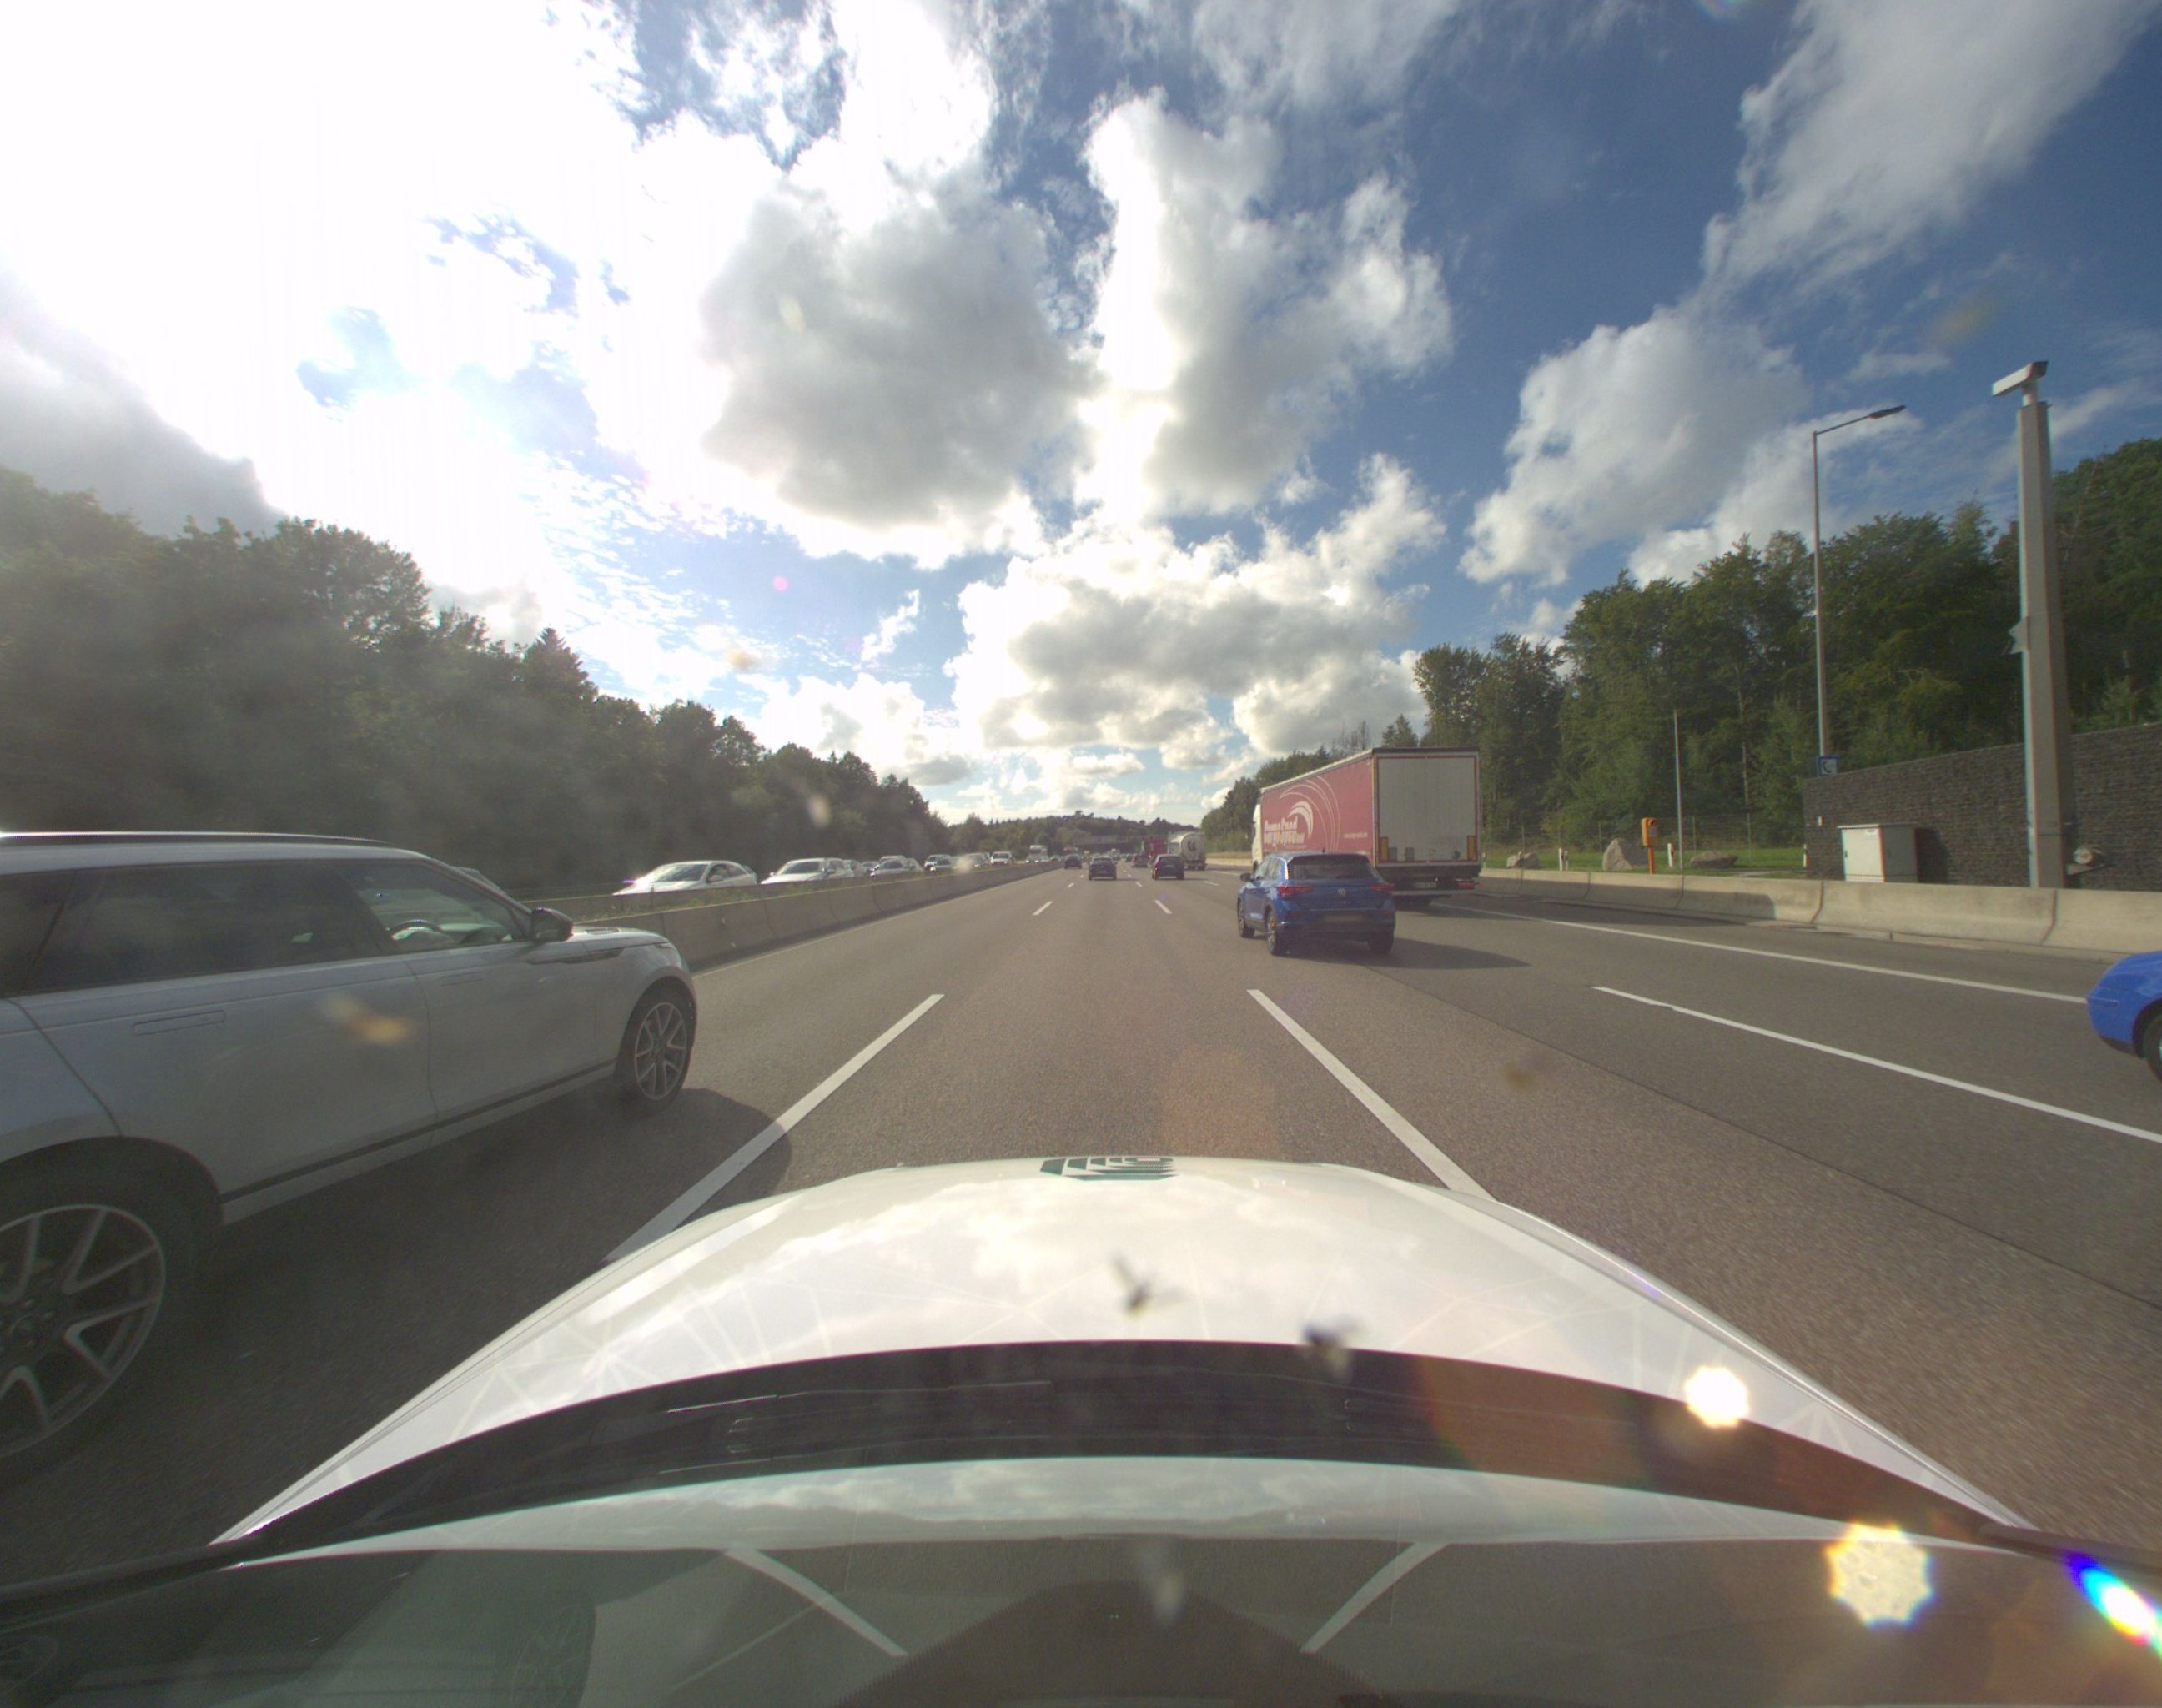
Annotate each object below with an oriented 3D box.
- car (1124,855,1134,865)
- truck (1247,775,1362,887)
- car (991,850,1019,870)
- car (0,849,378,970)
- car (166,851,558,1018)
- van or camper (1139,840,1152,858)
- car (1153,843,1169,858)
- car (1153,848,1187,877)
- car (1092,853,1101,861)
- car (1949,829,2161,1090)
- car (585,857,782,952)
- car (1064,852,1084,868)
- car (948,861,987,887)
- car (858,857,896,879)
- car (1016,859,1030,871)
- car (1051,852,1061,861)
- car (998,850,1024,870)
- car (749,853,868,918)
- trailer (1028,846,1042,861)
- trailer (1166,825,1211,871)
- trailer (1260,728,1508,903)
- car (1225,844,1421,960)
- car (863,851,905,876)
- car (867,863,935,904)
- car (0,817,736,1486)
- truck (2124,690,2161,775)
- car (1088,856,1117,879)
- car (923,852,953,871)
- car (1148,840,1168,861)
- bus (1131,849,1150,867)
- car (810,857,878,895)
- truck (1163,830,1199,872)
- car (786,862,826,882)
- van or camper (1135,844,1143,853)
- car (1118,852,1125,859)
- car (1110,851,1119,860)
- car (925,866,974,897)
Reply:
[{"bbox_3d":[9.824,1.339,167.133,1.986,2.014,4.000,0,-1,1],"label":"car"},{"bbox_3d":[8.733,-0.746,32.628,3.069,4.064,6.071,0,-2,2],"label":"truck"},{"bbox_3d":[-7.288,0.614,78.778,1.985,1.864,4.554,-1,-2,4],"label":"car"},{"bbox_3d":[-17.109,1.012,16.107,1.985,2.014,4.857,-1,-2,3],"label":"car"},{"bbox_3d":[-10.010,1.043,11.885,1.985,2.014,4.002,-1,-2,3],"label":"car"},{"bbox_3d":[12.114,-0.986,152.985,2.342,3.144,5.714,-1,-2,3],"label":"van or camper"},{"bbox_3d":[11.368,-0.469,116.129,1.986,2.014,4.001,0,-2,2],"label":"car"},{"bbox_3d":[5.344,0.528,49.382,1.792,1.644,4.002,0,-1,2],"label":"car"},{"bbox_3d":[3.873,0.739,199.380,2.146,1.776,4.002,0,-1,2],"label":"car"},{"bbox_3d":[7.080,0.616,3.737,1.708,1.511,4.304,0,0,2],"label":"car"},{"bbox_3d":[-8.710,1.071,18.394,1.949,1.864,4.554,-1,-2,4],"label":"car"},{"bbox_3d":[-0.754,0.674,93.033,1.986,1.776,4.002,-2,0,2],"label":"car"},{"bbox_3d":[-8.399,1.537,60.751,1.985,1.864,4.554,-1,-2,4],"label":"car"},{"bbox_3d":[-18.150,1.294,72.731,1.985,1.864,4.554,-1,-2,4],"label":"car"},{"bbox_3d":[-9.988,1.928,140.649,1.985,2.014,4.002,-1,-2,3],"label":"car"},{"bbox_3d":[-5.731,0.615,187.282,1.985,2.013,4.003,-2,0,3],"label":"car"},{"bbox_3d":[-7.136,0.655,83.582,1.985,1.864,4.554,-1,-2,4],"label":"car"},{"bbox_3d":[-8.544,0.988,26.012,1.985,1.864,4.554,-1,-2,4],"label":"car"},{"bbox_3d":[-10.195,-0.027,180.213,2.274,3.024,7.610,-1,-2,3],"label":"trailer"},{"bbox_3d":[10.235,-0.389,78.894,3.025,4.016,12.247,-1,-1,1],"label":"trailer"},{"bbox_3d":[8.507,-0.681,25.764,3.027,4.035,13.893,0,-2,2],"label":"trailer"},{"bbox_3d":[3.753,0.641,13.570,1.917,1.541,4.646,-2,0,1],"label":"car"},{"bbox_3d":[-15.557,0.769,64.557,1.985,1.864,4.554,-1,-2,4],"label":"car"},{"bbox_3d":[-8.591,1.413,39.274,1.985,1.864,4.554,-1,-2,4],"label":"car"},{"bbox_3d":[-3.528,0.749,3.422,1.893,1.607,5.106,-1,-1,1],"label":"car"},{"bbox_3d":[27.611,-3.038,18.663,2.210,2.013,3.996,-2,0,-3],"label":"truck"},{"bbox_3d":[1.325,0.820,50.470,1.727,1.365,4.001,0,-1,2],"label":"car"},{"bbox_3d":[-14.638,0.817,83.423,1.985,1.864,4.554,-1,-2,4],"label":"car"},{"bbox_3d":[11.811,-0.506,126.006,2.855,2.992,5.152,-1,-2,3],"label":"car"},{"bbox_3d":[6.888,0.499,94.787,1.986,2.014,4.001,0,-2,2],"label":"bus"},{"bbox_3d":[-12.490,1.183,43.162,1.985,1.864,4.554,-1,-2,4],"label":"car"},{"bbox_3d":[10.396,-0.256,85.124,3.034,4.160,7.129,-1,-1,2],"label":"truck"},{"bbox_3d":[-26.576,1.731,78.867,1.985,1.864,4.554,-1,-2,4],"label":"car"},{"bbox_3d":[16.766,-1.586,236.478,2.076,2.493,4.226,-1,0,2],"label":"van or camper"},{"bbox_3d":[10.932,0.415,220.147,1.669,1.592,3.630,-2,0,3],"label":"car"},{"bbox_3d":[8.163,0.448,196.879,1.986,2.014,4.001,-2,-2,1],"label":"car"},{"bbox_3d":[-8.132,1.700,50.802,1.985,1.864,4.554,-1,-2,4],"label":"car"}]
